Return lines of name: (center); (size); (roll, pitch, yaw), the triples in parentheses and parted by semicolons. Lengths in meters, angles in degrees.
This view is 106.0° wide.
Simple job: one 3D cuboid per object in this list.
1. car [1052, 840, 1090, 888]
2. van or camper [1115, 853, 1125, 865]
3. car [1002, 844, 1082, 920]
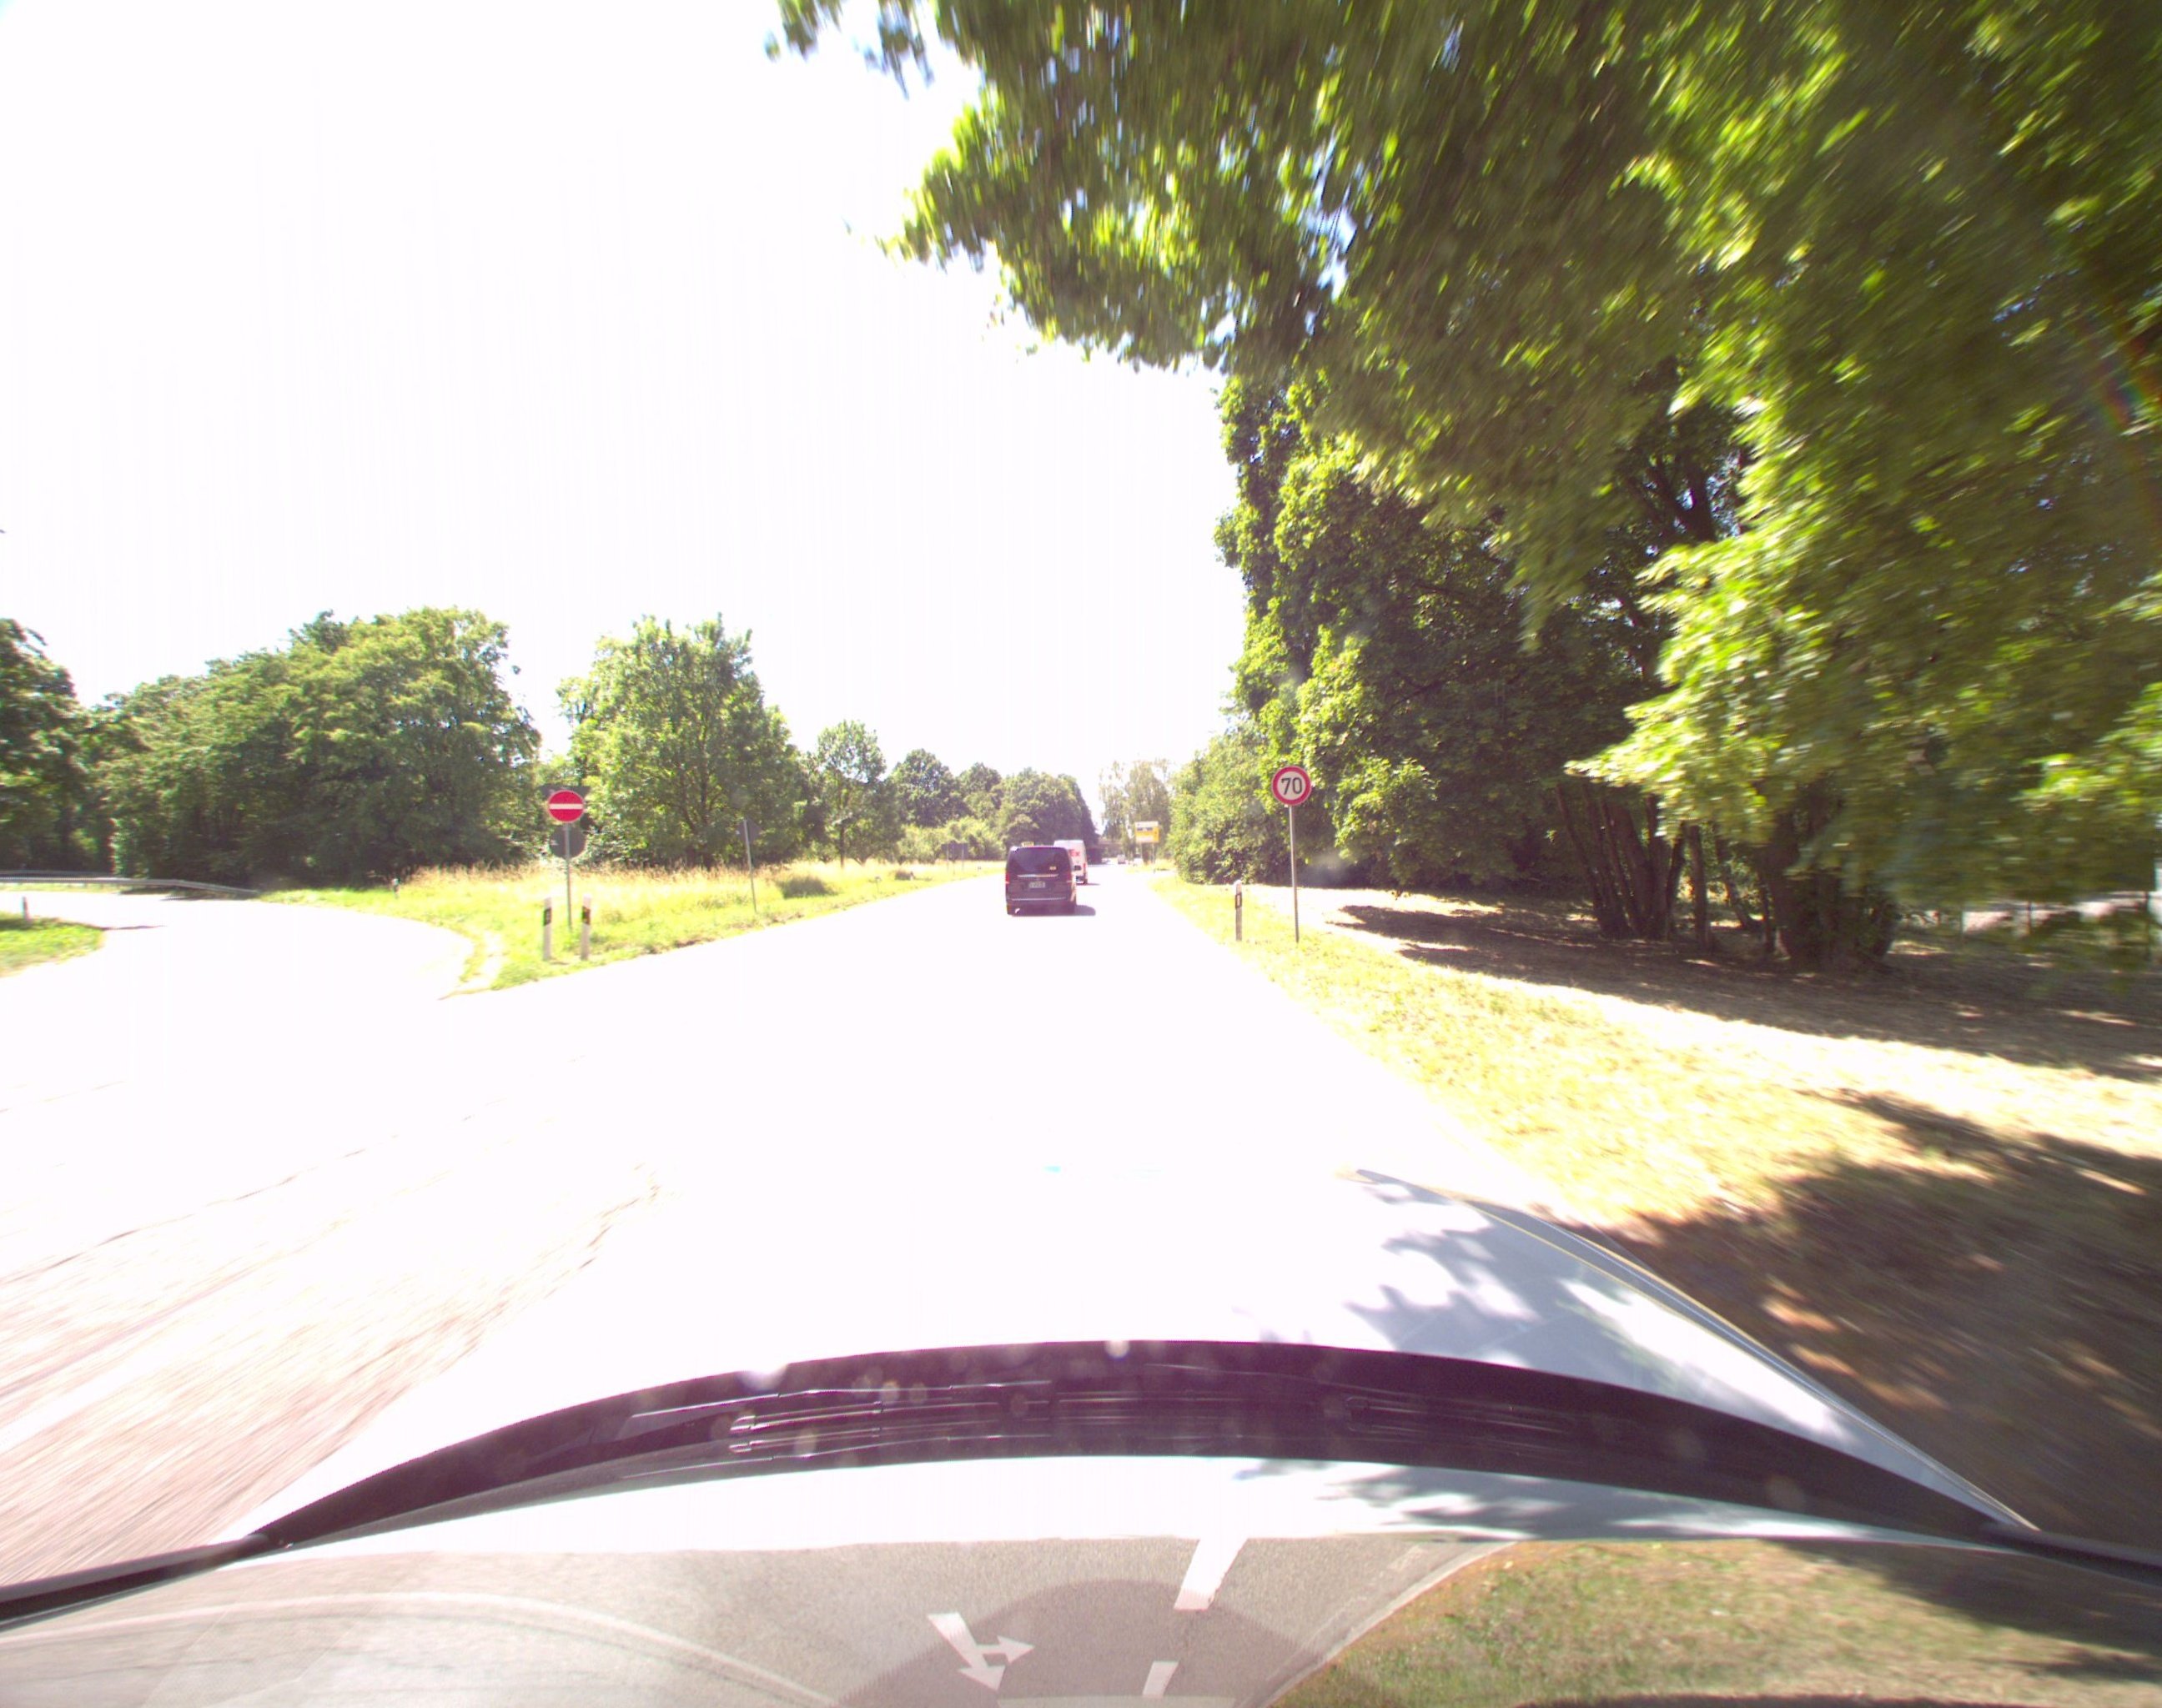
car: (-0.537, 0.576, 47.918); (2.070, 2.702, 4.668); (0, -1, 2)
van or camper: (10.333, 1.349, 216.285); (2.623, 2.929, 5.205); (0, -1, 0)
car: (-1.009, 0.745, 23.603); (1.987, 1.952, 5.005); (0, -1, 1)
